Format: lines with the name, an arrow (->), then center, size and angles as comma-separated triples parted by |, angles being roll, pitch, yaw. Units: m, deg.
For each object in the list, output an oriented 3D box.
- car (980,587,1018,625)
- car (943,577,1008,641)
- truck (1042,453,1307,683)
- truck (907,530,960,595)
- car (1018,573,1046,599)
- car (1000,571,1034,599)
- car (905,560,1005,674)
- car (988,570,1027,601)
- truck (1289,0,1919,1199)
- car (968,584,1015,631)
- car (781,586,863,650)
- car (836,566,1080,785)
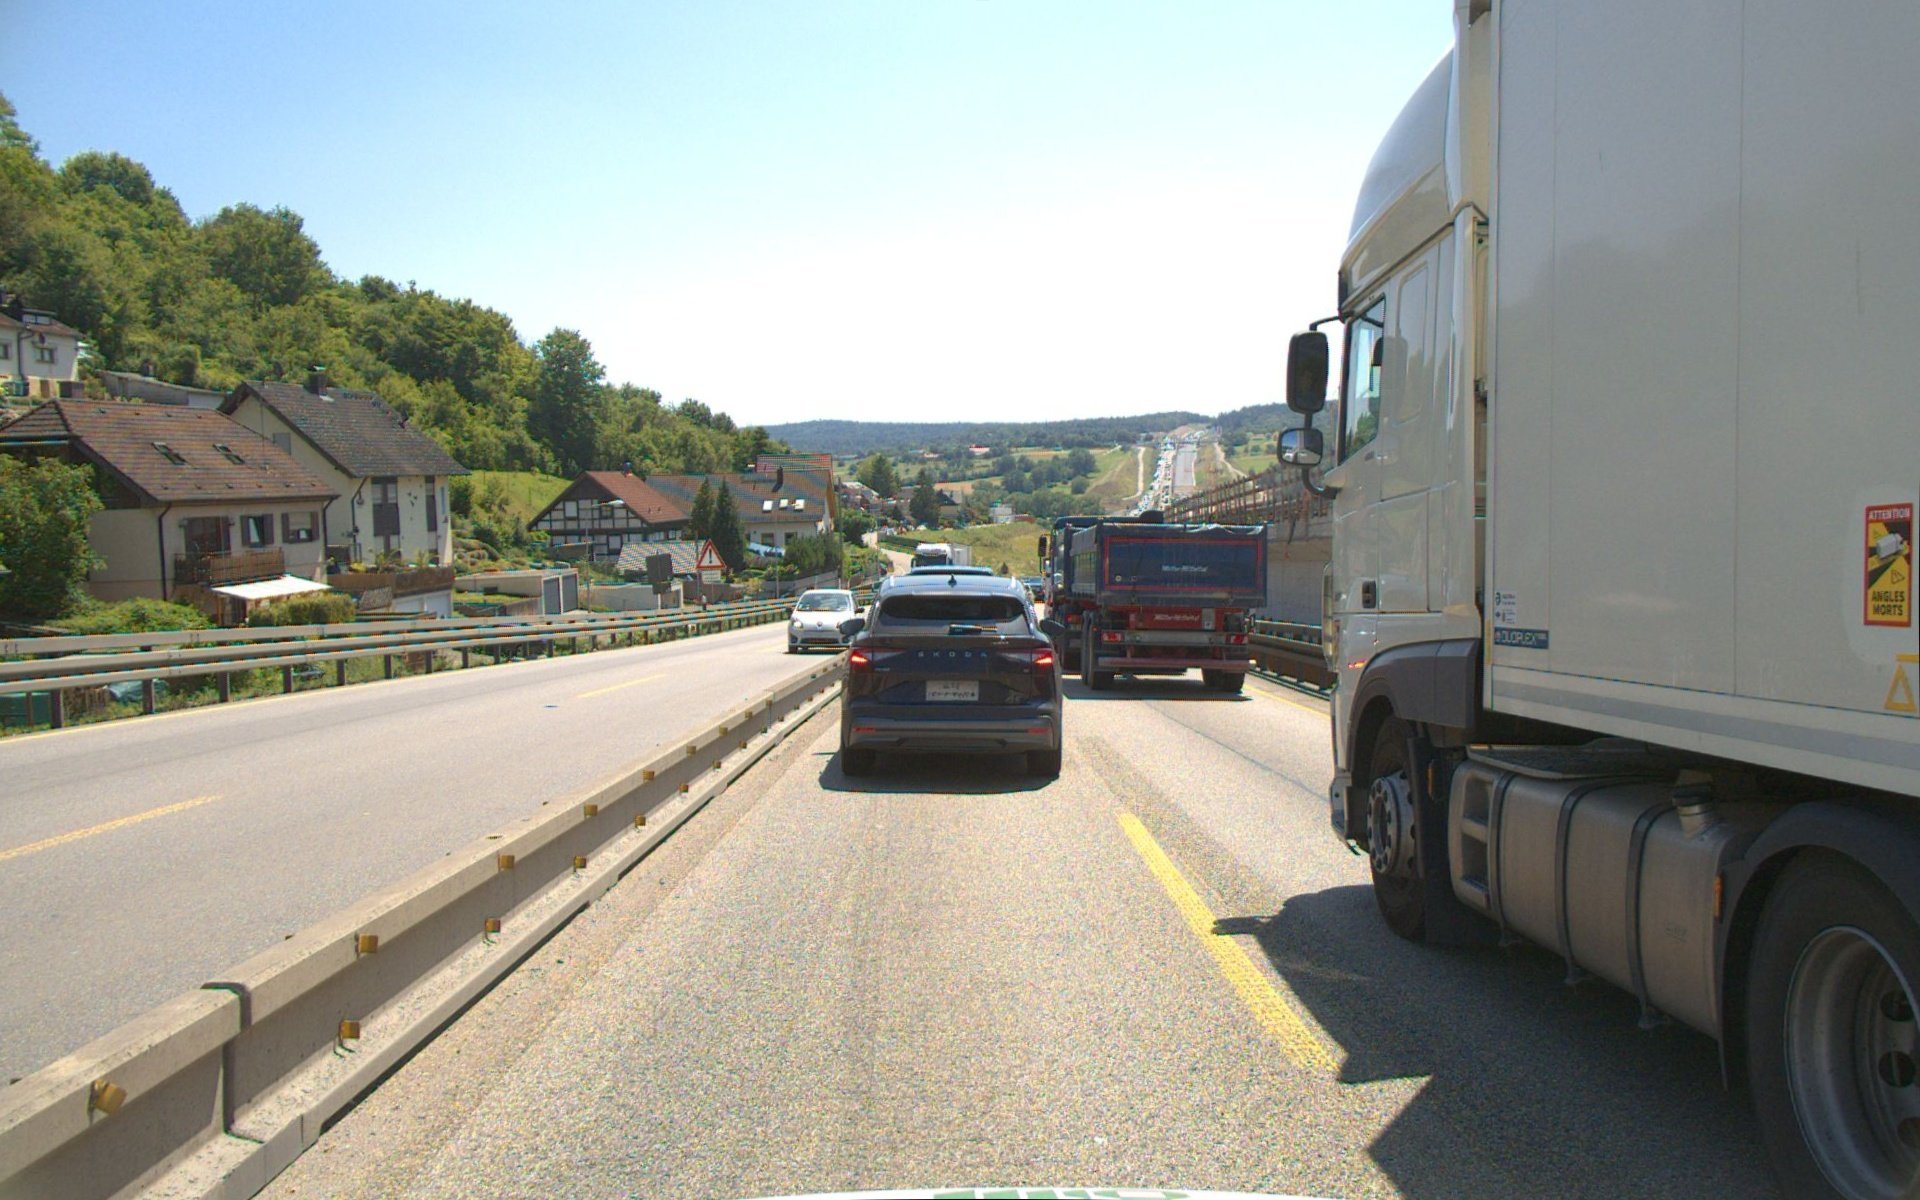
car -> 1.861, 0.266, 78.194 | 1.671, 1.650, 4.002 | 1, 1, 2
car -> 0.397, 0.224, 46.693 | 1.672, 1.650, 4.000 | 1, 1, -1
truck -> 3.395, -0.450, 30.130 | 3.129, 3.247, 12.808 | 1, 0, 0
truck -> -1.823, -2.600, 118.392 | 3.234, 4.438, 8.304 | 1, 0, 3
car -> 5.047, -0.992, 115.978 | 1.664, 1.758, 3.839 | 1, 0, 7
car -> 3.502, -0.923, 101.590 | 1.952, 1.613, 3.838 | 1, 0, 3
car -> -0.134, 0.246, 30.289 | 1.672, 1.914, 4.000 | 1, 1, -1
car -> 2.550, -0.753, 88.665 | 1.952, 1.613, 3.838 | 1, 0, 3
truck -> 3.106, -0.644, 4.774 | 2.462, 4.095, 8.235 | 1, 0, -1
car -> 1.238, 0.251, 63.772 | 1.671, 1.650, 4.002 | 1, 1, 2
car -> -3.296, 0.399, 40.017 | 1.711, 1.451, 3.709 | 0, 1, -1
car -> -0.056, 0.572, 14.388 | 1.805, 1.614, 3.906 | 1, 0, -1
